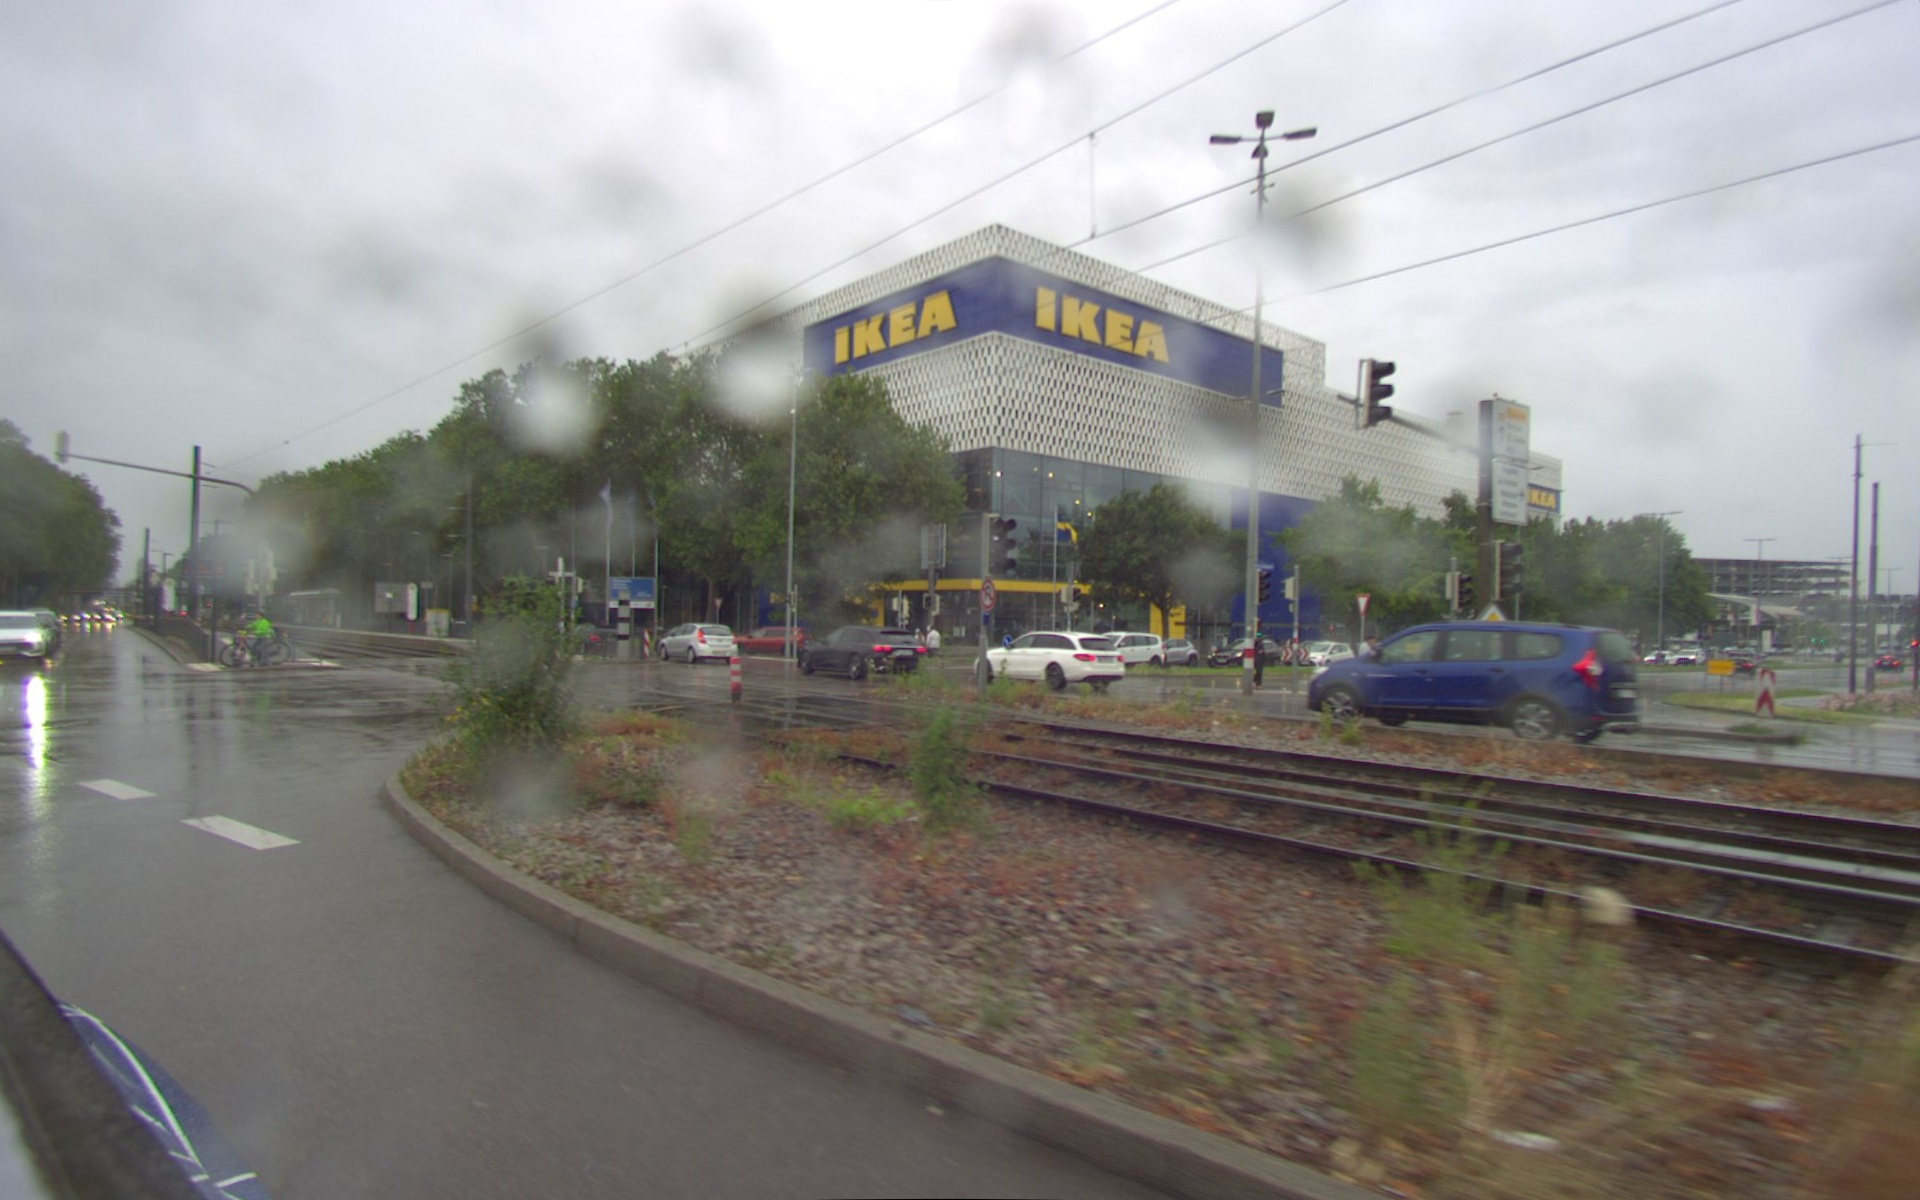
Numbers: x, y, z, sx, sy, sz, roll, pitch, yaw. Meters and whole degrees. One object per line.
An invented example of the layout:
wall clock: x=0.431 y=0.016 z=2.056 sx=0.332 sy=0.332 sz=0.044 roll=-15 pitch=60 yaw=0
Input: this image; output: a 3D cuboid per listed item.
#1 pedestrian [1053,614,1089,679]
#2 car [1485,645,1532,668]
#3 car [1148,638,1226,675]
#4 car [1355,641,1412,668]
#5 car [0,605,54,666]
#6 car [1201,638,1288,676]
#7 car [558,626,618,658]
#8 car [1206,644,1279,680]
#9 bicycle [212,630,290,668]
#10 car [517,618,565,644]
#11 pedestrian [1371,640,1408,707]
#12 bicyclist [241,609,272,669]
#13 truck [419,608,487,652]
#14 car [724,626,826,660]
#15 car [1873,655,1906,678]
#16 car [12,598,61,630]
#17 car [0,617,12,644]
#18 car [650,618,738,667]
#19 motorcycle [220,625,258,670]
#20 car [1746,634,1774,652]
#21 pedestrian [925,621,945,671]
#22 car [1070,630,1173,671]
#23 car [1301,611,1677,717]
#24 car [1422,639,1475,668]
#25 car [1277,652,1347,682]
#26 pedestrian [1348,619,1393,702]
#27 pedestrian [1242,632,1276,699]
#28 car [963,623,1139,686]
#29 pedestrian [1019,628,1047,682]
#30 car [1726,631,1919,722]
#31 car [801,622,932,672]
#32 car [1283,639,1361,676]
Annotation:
pedestrian: x=4.039 y=1.693 z=36.937 sx=0.905 sy=2.261 sz=0.993 roll=-2 pitch=2 yaw=-27
car: x=39.890 y=4.066 z=73.574 sx=3.764 sy=1.417 sz=1.605 roll=-1 pitch=0 yaw=-38
car: x=11.387 y=2.805 z=50.721 sx=3.954 sy=1.630 sz=1.763 roll=-1 pitch=0 yaw=-39
car: x=26.357 y=3.368 z=62.947 sx=3.764 sy=1.417 sz=1.605 roll=-1 pitch=0 yaw=-38
car: x=-30.247 y=1.102 z=32.237 sx=1.964 sy=1.802 sz=4.560 roll=-1 pitch=0 yaw=-41
car: x=13.518 y=2.655 z=47.990 sx=4.312 sy=1.552 sz=1.823 roll=-1 pitch=-1 yaw=-39
car: x=-17.445 y=1.956 z=47.337 sx=1.561 sy=1.377 sz=4.211 roll=-1 pitch=-1 yaw=-36
car: x=14.964 y=3.261 z=53.593 sx=3.954 sy=1.630 sz=1.763 roll=-1 pitch=0 yaw=-39
bicycle: x=-21.251 y=1.463 z=30.361 sx=1.843 sy=1.016 sz=0.671 roll=-2 pitch=-1 yaw=-43
car: x=-24.660 y=1.832 z=59.507 sx=1.562 sy=1.425 sz=3.922 roll=-1 pitch=-1 yaw=-39
pedestrian: x=12.141 y=2.062 z=28.622 sx=0.768 sy=1.832 sz=0.706 roll=0 pitch=0 yaw=42
bicyclist: x=-21.133 y=1.163 z=30.392 sx=0.609 sy=1.745 sz=0.793 roll=-1 pitch=-1 yaw=-43
truck: x=-39.412 y=2.215 z=78.516 sx=2.706 sy=2.870 sz=9.110 roll=-1 pitch=2 yaw=-40
car: x=-9.937 y=2.312 z=54.399 sx=5.010 sy=1.579 sz=1.992 roll=-2 pitch=-1 yaw=13
car: x=95.812 y=6.846 z=104.291 sx=3.936 sy=2.029 sz=2.004 roll=-1 pitch=0 yaw=-39
car: x=-46.388 y=0.719 z=50.884 sx=1.690 sy=1.536 sz=4.049 roll=-1 pitch=-1 yaw=-41
car: x=-57.277 y=1.839 z=59.754 sx=1.690 sy=1.536 sz=4.049 roll=-1 pitch=-1 yaw=-41
car: x=-10.182 y=1.595 z=38.501 sx=1.690 sy=1.721 sz=4.439 roll=-1 pitch=-1 yaw=-37
motorcycle: x=-20.736 y=1.353 z=29.106 sx=0.519 sy=1.230 sz=1.406 roll=-2 pitch=-1 yaw=-20
car: x=101.916 y=5.456 z=128.894 sx=3.936 sy=2.029 sz=2.004 roll=-1 pitch=0 yaw=-39
pedestrian: x=-1.031 y=1.894 z=42.043 sx=0.684 sy=2.029 sz=0.629 roll=-2 pitch=-1 yaw=-9
car: x=6.855 y=2.085 z=42.717 sx=4.392 sy=1.552 sz=1.823 roll=0 pitch=-1 yaw=-39
car: x=7.402 y=0.849 z=14.573 sx=1.690 sy=1.259 sz=4.469 roll=-1 pitch=-1 yaw=-40
car: x=32.814 y=3.564 z=67.953 sx=3.950 sy=1.686 sz=1.685 roll=-1 pitch=0 yaw=-38
car: x=20.206 y=3.808 z=58.043 sx=4.220 sy=1.552 sz=1.823 roll=1 pitch=-3 yaw=-39
pedestrian: x=10.349 y=1.500 z=25.511 sx=0.858 sy=2.029 sz=0.687 roll=0 pitch=0 yaw=42
pedestrian: x=9.432 y=2.045 z=31.894 sx=0.756 sy=2.029 sz=0.672 roll=0 pitch=0 yaw=-27
car: x=2.285 y=1.378 z=26.595 sx=1.789 sy=1.447 sz=4.721 roll=-1 pitch=-1 yaw=-39
pedestrian: x=2.831 y=2.111 z=39.370 sx=0.771 sy=2.029 sz=0.861 roll=0 pitch=0 yaw=-24
car: x=14.180 y=1.120 z=15.219 sx=1.561 sy=1.259 sz=3.924 roll=-1 pitch=-1 yaw=-36
car: x=-2.677 y=1.277 z=28.163 sx=1.690 sy=1.259 sz=4.055 roll=-1 pitch=-1 yaw=-38
car: x=18.747 y=2.925 z=52.317 sx=4.045 sy=1.615 sz=2.003 roll=-1 pitch=0 yaw=-40
